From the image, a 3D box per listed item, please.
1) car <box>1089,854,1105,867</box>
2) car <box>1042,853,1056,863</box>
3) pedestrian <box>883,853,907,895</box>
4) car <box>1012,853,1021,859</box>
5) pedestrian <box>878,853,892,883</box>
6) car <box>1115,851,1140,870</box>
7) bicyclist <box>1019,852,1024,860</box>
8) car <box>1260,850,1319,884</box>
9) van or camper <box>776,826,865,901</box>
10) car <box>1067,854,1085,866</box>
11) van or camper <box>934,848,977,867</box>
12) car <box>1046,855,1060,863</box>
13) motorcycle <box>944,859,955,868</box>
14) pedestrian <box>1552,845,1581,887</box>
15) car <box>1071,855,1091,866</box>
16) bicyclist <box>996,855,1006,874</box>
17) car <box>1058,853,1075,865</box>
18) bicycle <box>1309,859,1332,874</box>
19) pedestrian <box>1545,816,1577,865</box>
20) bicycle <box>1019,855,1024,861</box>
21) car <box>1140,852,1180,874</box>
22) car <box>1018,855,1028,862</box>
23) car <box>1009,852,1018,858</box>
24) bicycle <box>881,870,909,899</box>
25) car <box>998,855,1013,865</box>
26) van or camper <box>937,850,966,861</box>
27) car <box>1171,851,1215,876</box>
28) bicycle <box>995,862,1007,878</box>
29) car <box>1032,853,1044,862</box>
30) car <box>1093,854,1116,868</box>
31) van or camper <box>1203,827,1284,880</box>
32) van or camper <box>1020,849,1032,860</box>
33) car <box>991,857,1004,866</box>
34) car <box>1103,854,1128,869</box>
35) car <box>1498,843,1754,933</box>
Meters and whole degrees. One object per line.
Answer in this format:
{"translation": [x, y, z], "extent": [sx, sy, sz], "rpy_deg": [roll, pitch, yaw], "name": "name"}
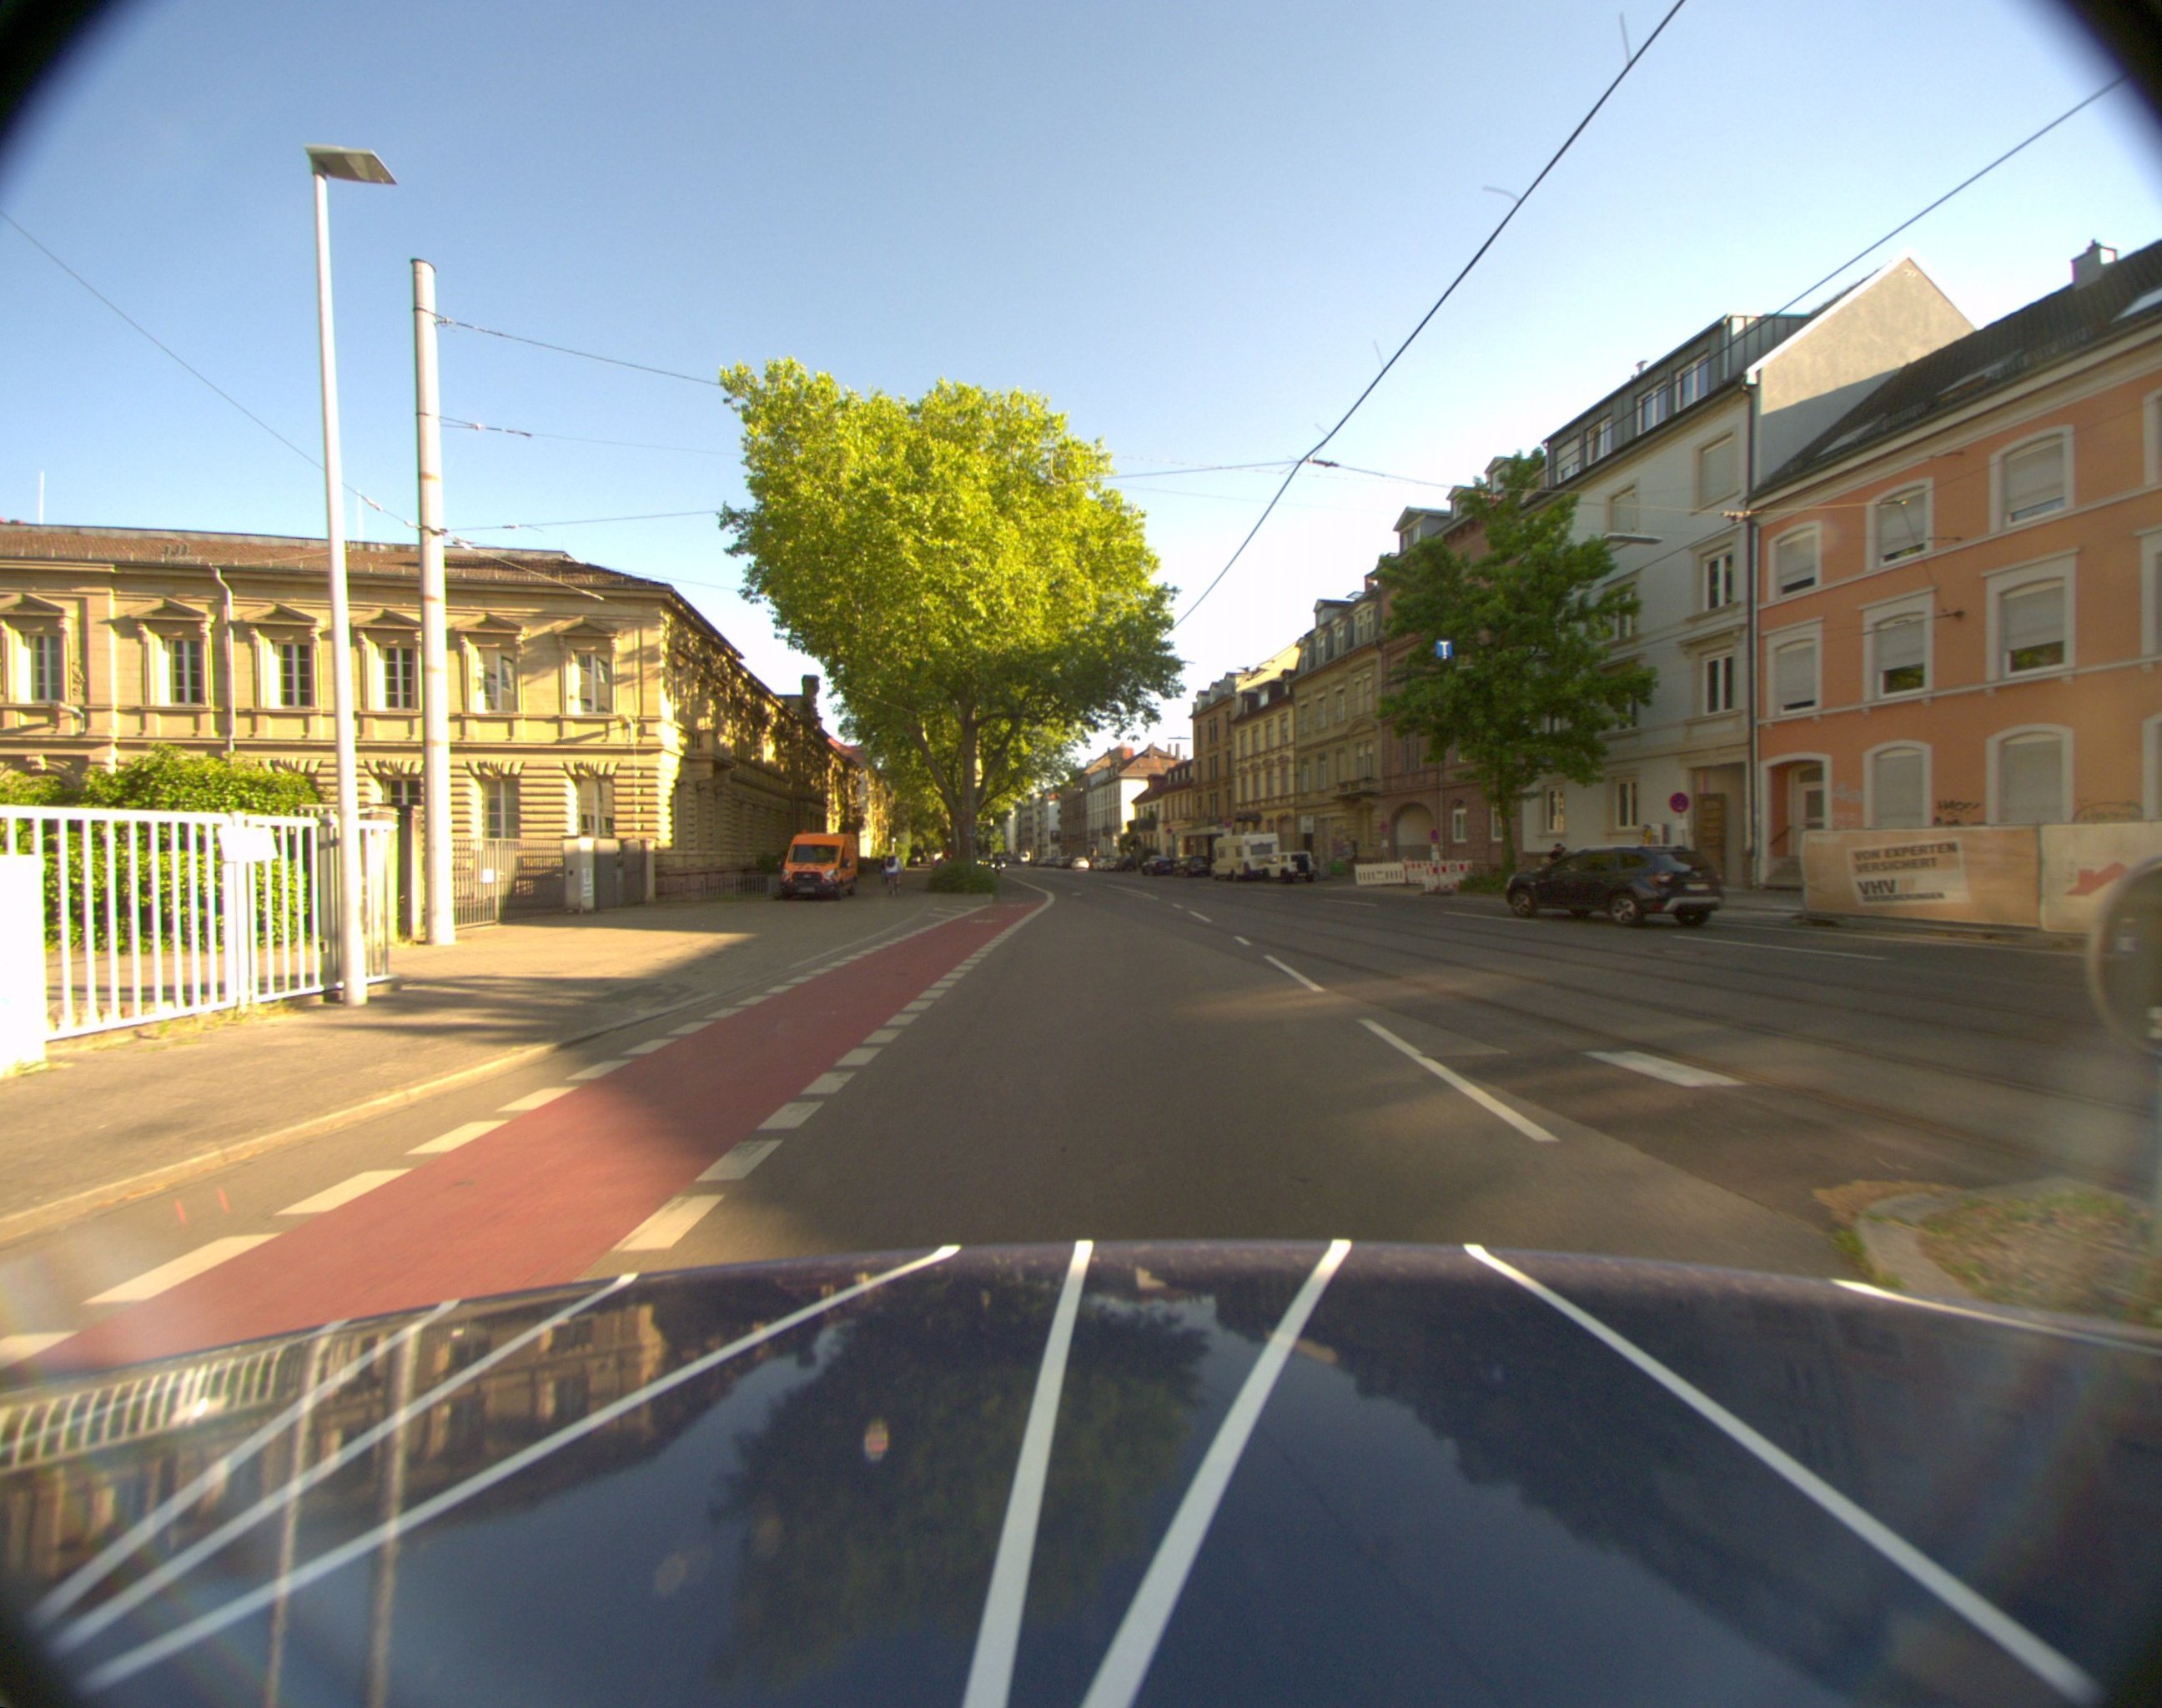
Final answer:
{"translation": [1.907, 0.768, 91.189], "extent": [1.423, 1.502, 3.323], "rpy_deg": [-3, 1, -7], "name": "car"}
{"translation": [-5.633, 0.751, 131.962], "extent": [1.799, 1.617, 4.079], "rpy_deg": [-3, 1, -10], "name": "car"}
{"translation": [-7.332, 0.774, 29.985], "extent": [0.671, 1.610, 1.102], "rpy_deg": [2, 1, -2], "name": "pedestrian"}
{"translation": [-16.290, 0.457, 192.601], "extent": [1.810, 1.534, 3.915], "rpy_deg": [-3, 1, -10], "name": "car"}
{"translation": [-11.218, 0.800, 43.528], "extent": [0.653, 1.726, 1.006], "rpy_deg": [-1, 1, -9], "name": "pedestrian"}
{"translation": [4.667, 0.617, 76.605], "extent": [1.730, 1.736, 3.622], "rpy_deg": [-4, 1, -9], "name": "car"}
{"translation": [-11.699, 0.403, 149.567], "extent": [0.715, 1.508, 0.953], "rpy_deg": [-1, 1, -12], "name": "bicyclist"}
{"translation": [11.337, 0.670, 41.564], "extent": [1.636, 1.696, 3.367], "rpy_deg": [-4, 1, -13], "name": "car"}
{"translation": [-9.677, 0.326, 28.746], "extent": [2.042, 2.544, 5.768], "rpy_deg": [-1, 0, -8], "name": "van or camper"}
{"translation": [-0.728, 0.823, 106.142], "extent": [1.799, 1.587, 4.079], "rpy_deg": [-3, 1, -10], "name": "car"}
{"translation": [-18.065, 0.450, 109.157], "extent": [5.933, 2.484, 2.218], "rpy_deg": [-1, 3, -12], "name": "van or camper"}
{"translation": [-4.702, 0.818, 126.747], "extent": [1.799, 1.368, 4.079], "rpy_deg": [-3, 1, -10], "name": "car"}
{"translation": [-15.351, 1.063, 88.946], "extent": [0.394, 1.048, 1.274], "rpy_deg": [0, 1, 44], "name": "motorcycle"}
{"translation": [17.313, 0.427, 27.097], "extent": [0.578, 1.453, 0.607], "rpy_deg": [-3, 1, -11], "name": "pedestrian"}
{"translation": [-0.025, 0.866, 101.642], "extent": [1.870, 1.423, 4.079], "rpy_deg": [-3, 1, -10], "name": "car"}
{"translation": [-6.032, 0.794, 57.103], "extent": [0.715, 1.435, 0.953], "rpy_deg": [-1, 1, -9], "name": "bicyclist"}
{"translation": [-2.144, 0.721, 111.651], "extent": [1.799, 1.630, 4.250], "rpy_deg": [-3, 1, -10], "name": "car"}
{"translation": [14.531, 0.748, 46.116], "extent": [0.580, 0.919, 1.790], "rpy_deg": [-1, 0, -8], "name": "bicycle"}
{"translation": [16.713, -0.471, 26.465], "extent": [0.569, 1.644, 0.687], "rpy_deg": [-3, 1, -11], "name": "pedestrian"}
{"translation": [-11.683, 0.841, 149.562], "extent": [0.715, 1.131, 2.118], "rpy_deg": [-1, 0, -11], "name": "bicycle"}
{"translation": [6.666, 0.712, 64.649], "extent": [2.000, 1.693, 4.746], "rpy_deg": [-4, 1, -11], "name": "car"}
{"translation": [-13.213, 1.105, 172.936], "extent": [1.810, 1.534, 3.915], "rpy_deg": [-3, 1, -10], "name": "car"}
{"translation": [-18.073, 0.287, 202.679], "extent": [1.810, 1.534, 3.914], "rpy_deg": [-3, 1, -12], "name": "car"}
{"translation": [-7.340, 1.185, 30.020], "extent": [0.676, 1.026, 1.900], "rpy_deg": [2, 0, -2], "name": "bicycle"}
{"translation": [-10.851, 0.889, 109.500], "extent": [1.741, 1.365, 3.915], "rpy_deg": [-3, 1, -10], "name": "car"}
{"translation": [-28.676, 0.286, 168.331], "extent": [6.104, 2.417, 2.426], "rpy_deg": [0, 0, -10], "name": "van or camper"}
{"translation": [8.318, 0.682, 57.035], "extent": [1.816, 1.695, 4.439], "rpy_deg": [-4, 1, -11], "name": "car"}
{"translation": [-6.016, 1.162, 57.053], "extent": [0.715, 1.131, 2.118], "rpy_deg": [-1, 0, -9], "name": "bicycle"}
{"translation": [-8.404, 0.659, 147.797], "extent": [1.810, 1.534, 3.915], "rpy_deg": [-3, 1, -10], "name": "car"}
{"translation": [2.636, 0.824, 86.219], "extent": [1.588, 1.482, 4.466], "rpy_deg": [-3, 1, -10], "name": "car"}
{"translation": [10.030, -0.060, 47.711], "extent": [2.427, 2.930, 7.245], "rpy_deg": [-4, 1, -8], "name": "van or camper"}
{"translation": [-12.174, 0.082, 167.545], "extent": [1.946, 2.267, 4.593], "rpy_deg": [-3, 1, -10], "name": "van or camper"}
{"translation": [-13.751, 1.209, 124.457], "extent": [1.741, 1.365, 3.915], "rpy_deg": [-3, 1, -10], "name": "car"}
{"translation": [3.618, 0.772, 80.886], "extent": [1.669, 1.446, 4.400], "rpy_deg": [-3, 1, -10], "name": "car"}
{"translation": [11.501, 0.634, 16.481], "extent": [2.000, 1.679, 4.305], "rpy_deg": [-1, 0, -11], "name": "car"}
